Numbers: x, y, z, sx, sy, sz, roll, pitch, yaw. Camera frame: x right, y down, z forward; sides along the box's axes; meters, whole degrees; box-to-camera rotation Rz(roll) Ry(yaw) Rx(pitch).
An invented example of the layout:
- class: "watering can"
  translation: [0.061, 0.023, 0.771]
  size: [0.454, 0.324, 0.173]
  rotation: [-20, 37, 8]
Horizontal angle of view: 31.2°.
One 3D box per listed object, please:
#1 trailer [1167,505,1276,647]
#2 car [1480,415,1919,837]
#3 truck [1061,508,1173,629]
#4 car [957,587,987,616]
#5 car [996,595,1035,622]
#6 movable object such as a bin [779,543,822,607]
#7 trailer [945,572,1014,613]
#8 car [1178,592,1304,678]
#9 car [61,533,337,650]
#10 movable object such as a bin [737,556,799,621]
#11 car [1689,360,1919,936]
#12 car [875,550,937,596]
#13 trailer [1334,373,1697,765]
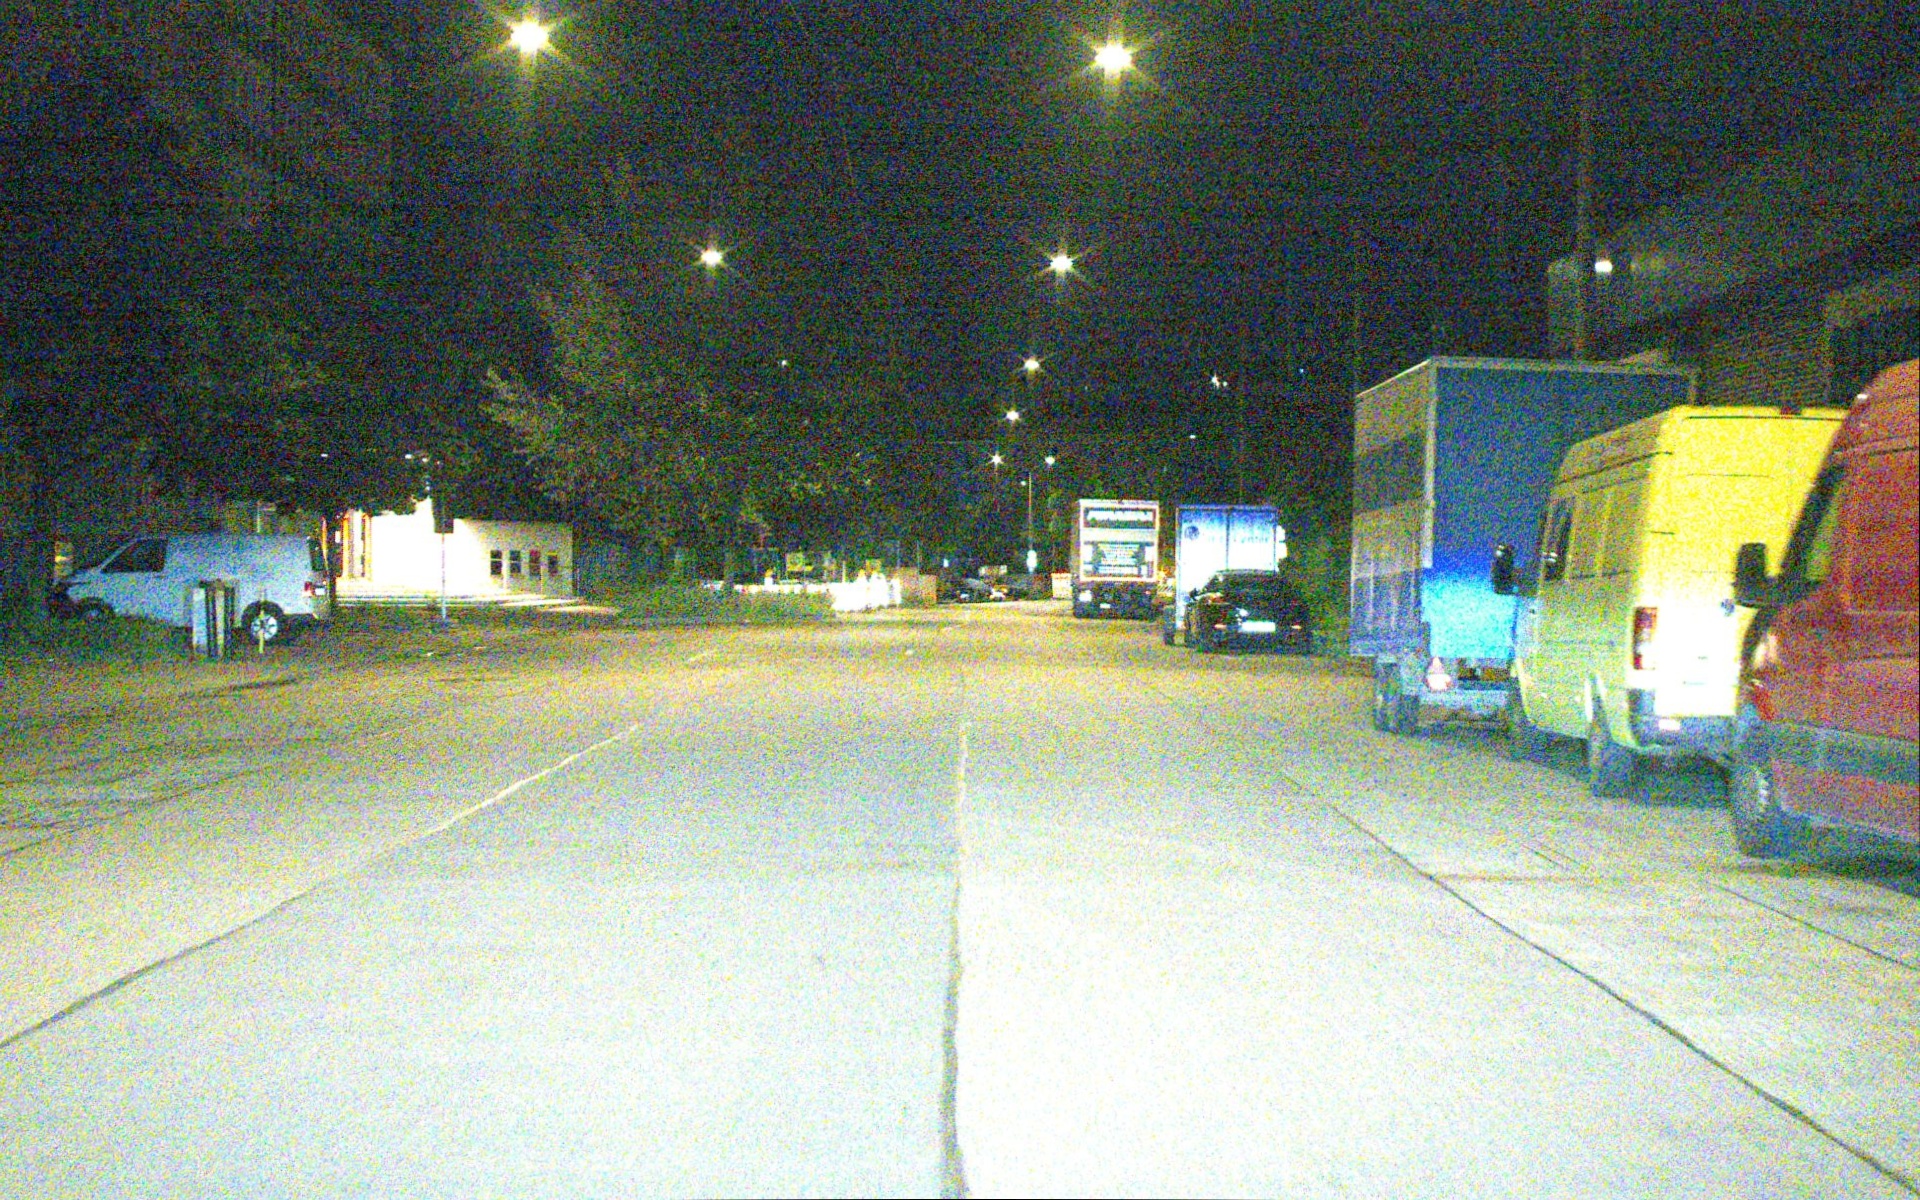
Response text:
- class: "trailer"
  translation: [5.031, -0.483, 66.647]
  size: [1.994, 2.642, 4.000]
  rotation: [1, 1, 3]
- class: "car"
  translation: [5.122, 0.109, 24.222]
  size: [1.940, 2.539, 6.646]
  rotation: [1, 1, 1]
- class: "truck"
  translation: [5.185, -1.034, 115.167]
  size: [3.324, 3.855, 9.328]
  rotation: [1, 0, 0]
- class: "car"
  translation: [0.728, 0.111, 207.586]
  size: [1.720, 1.655, 4.000]
  rotation: [1, -1, 1]
- class: "car"
  translation: [3.832, 0.598, 236.195]
  size: [1.722, 1.815, 3.997]
  rotation: [1, -1, 16]
- class: "movable object such as a bin"
  translation: [-7.095, -1.138, 152.770]
  size: [1.570, 2.724, 3.702]
  rotation: [-3, 1, -6]
- class: "trailer"
  translation: [1.062, -0.398, 192.569]
  size: [1.559, 2.153, 5.222]
  rotation: [-2, 0, -27]
- class: "car"
  translation: [4.931, 0.592, 60.786]
  size: [1.726, 1.382, 4.677]
  rotation: [1, 1, -1]
- class: "car"
  translation: [-13.439, -0.165, 60.873]
  size: [4.432, 1.965, 2.000]
  rotation: [1, 1, 0]
- class: "movable object such as a bin"
  translation: [-7.385, -0.436, 132.098]
  size: [1.548, 2.459, 2.840]
  rotation: [-1, 0, -20]
- class: "car"
  translation: [5.204, 0.202, 16.349]
  size: [1.993, 2.539, 6.026]
  rotation: [1, 1, -2]
- class: "car"
  translation: [-3.823, -1.909, 244.711]
  size: [2.520, 3.160, 7.133]
  rotation: [-2, 0, 14]
- class: "trailer"
  translation: [4.976, -0.293, 31.482]
  size: [2.398, 3.314, 4.363]
  rotation: [1, 1, -2]
